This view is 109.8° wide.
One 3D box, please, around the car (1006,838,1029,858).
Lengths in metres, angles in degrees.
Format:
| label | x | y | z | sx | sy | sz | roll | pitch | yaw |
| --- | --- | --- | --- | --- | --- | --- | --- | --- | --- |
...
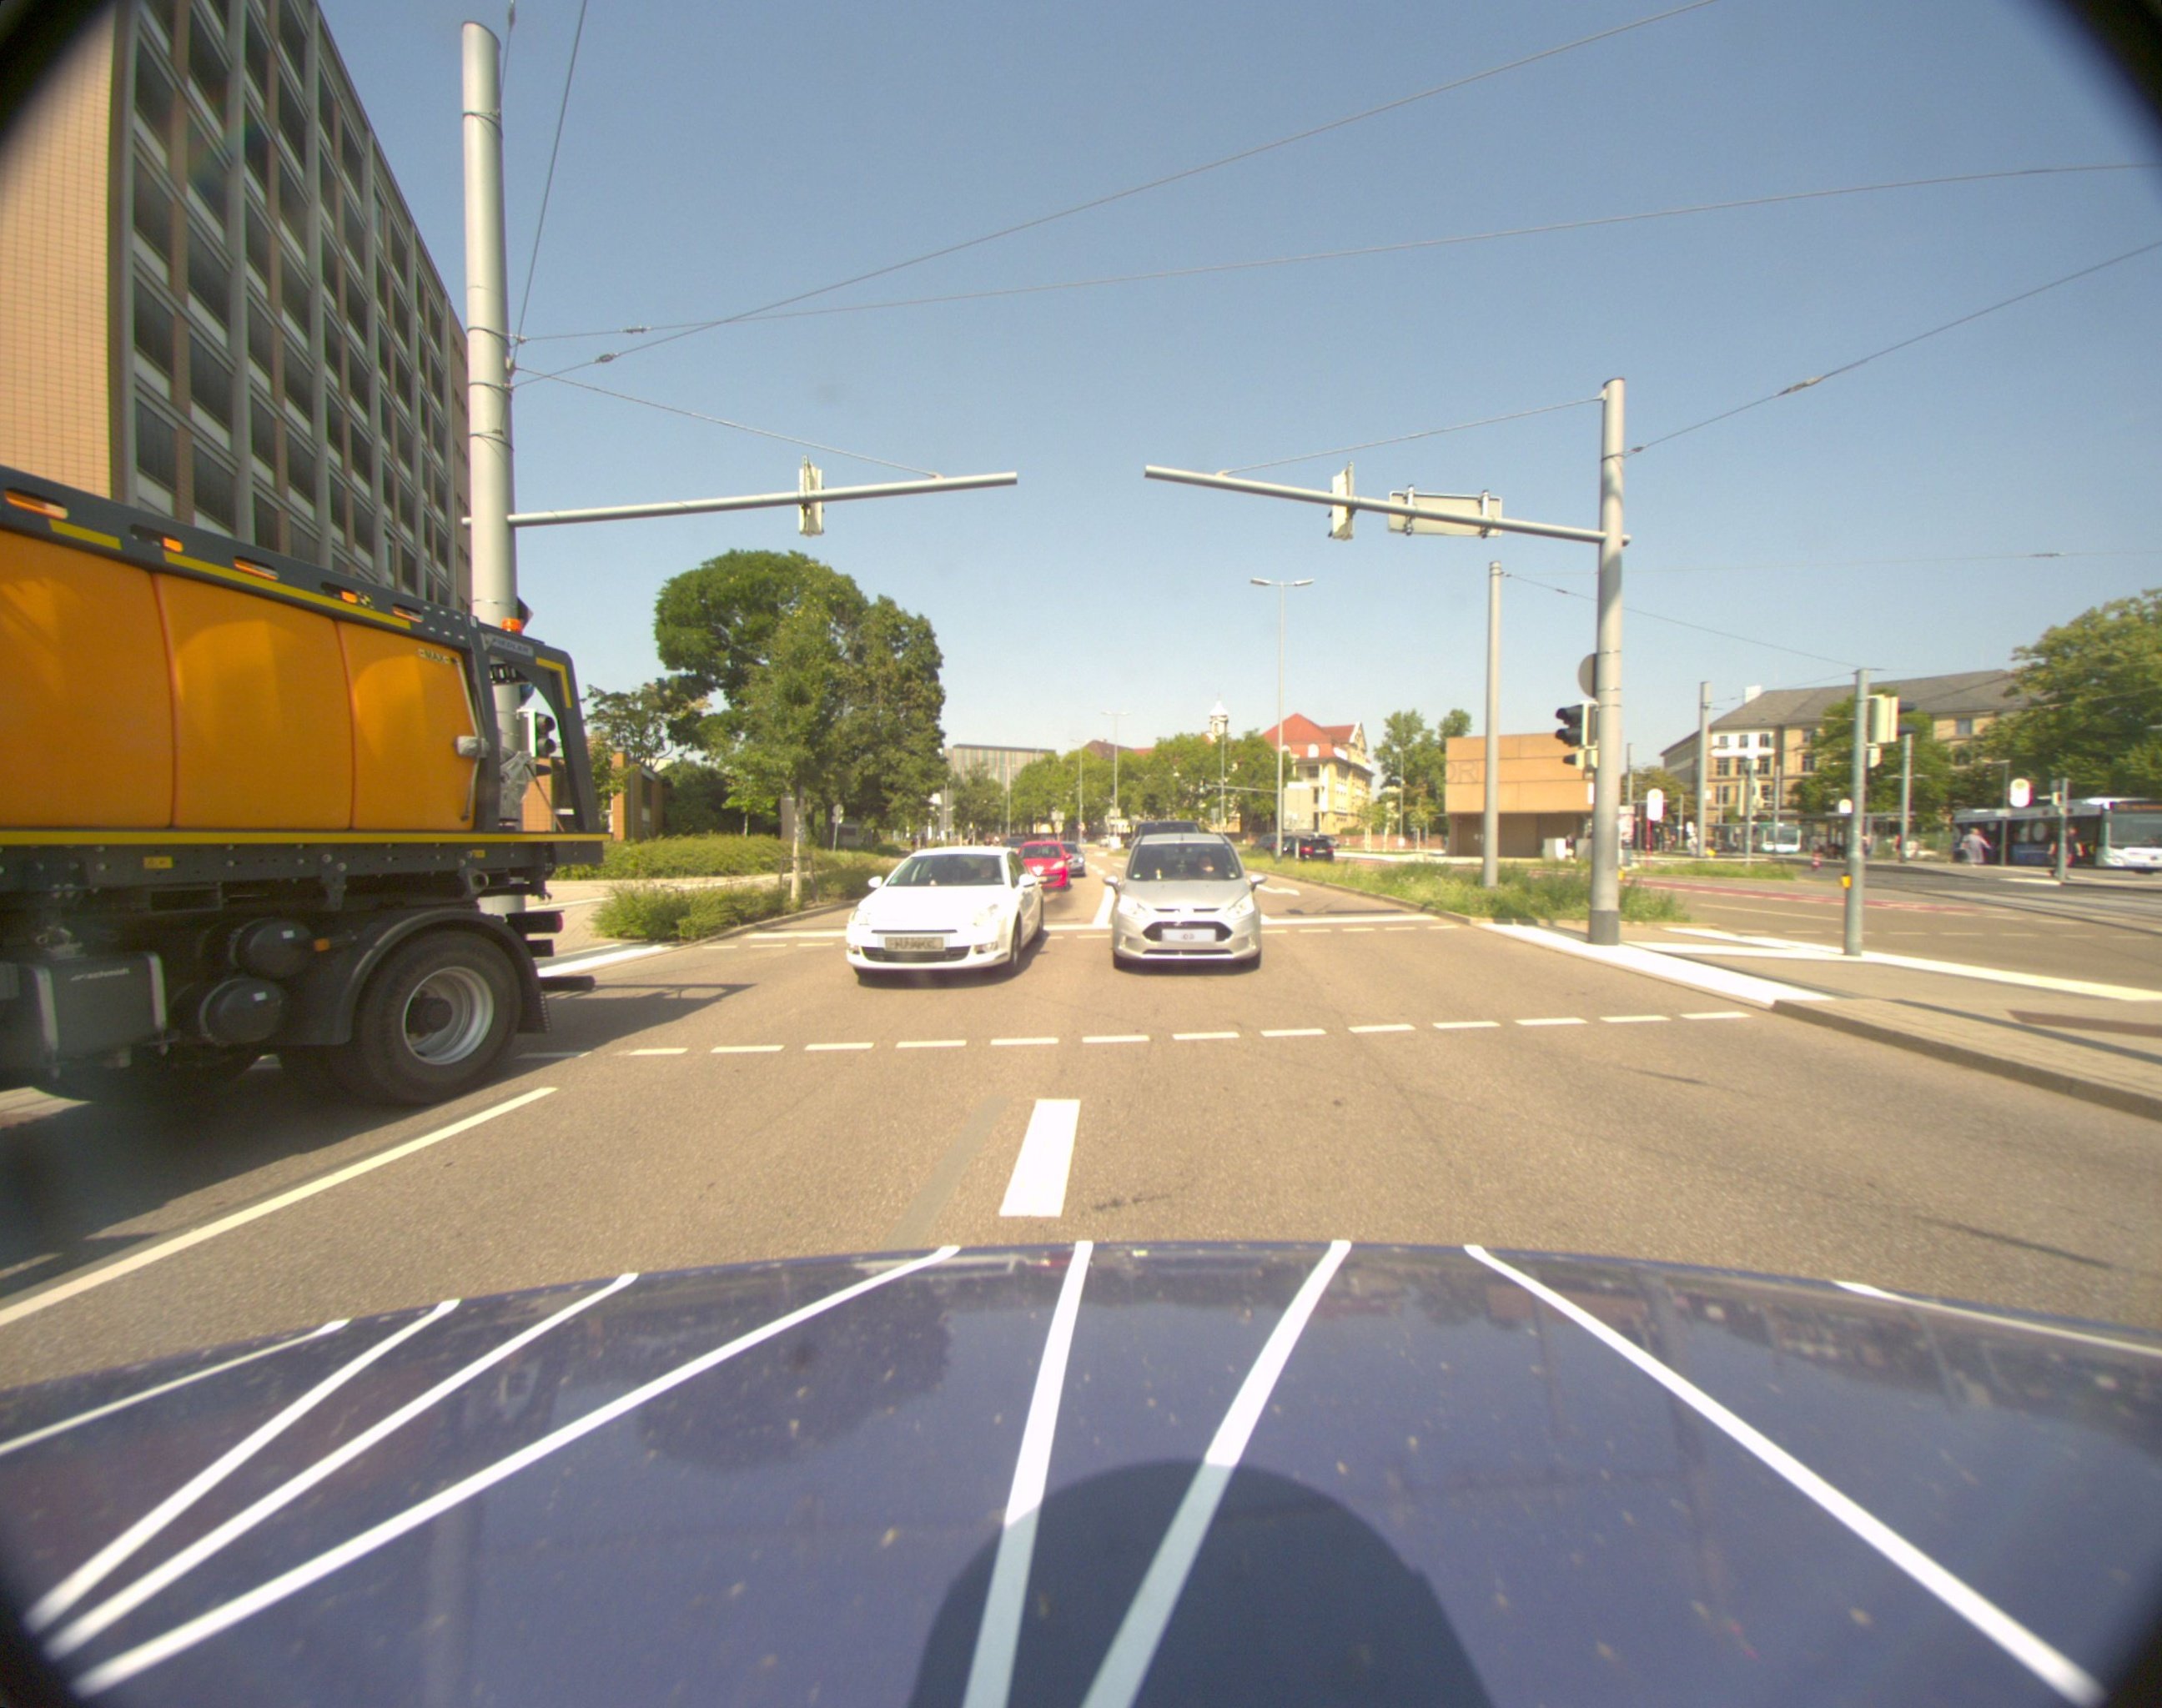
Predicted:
| label | x | y | z | sx | sy | sz | roll | pitch | yaw |
| --- | --- | --- | --- | --- | --- | --- | --- | --- | --- |
| car | -4.564 | -0.460 | 54.423 | 1.617 | 1.415 | 3.604 | 0 | 2 | -5 |

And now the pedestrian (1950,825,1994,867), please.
| label | x | y | z | sx | sy | sz | roll | pitch | yaw |
| --- | --- | --- | --- | --- | --- | --- | --- | --- | --- |
| pedestrian | 38.185 | -0.332 | 32.565 | 0.959 | 1.770 | 0.784 | 1 | 2 | -12 |

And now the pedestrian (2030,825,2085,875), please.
| label | x | y | z | sx | sy | sz | roll | pitch | yaw |
| --- | --- | --- | --- | --- | --- | --- | --- | --- | --- |
| pedestrian | 35.049 | -0.147 | 27.281 | 0.959 | 1.770 | 0.784 | 1 | 2 | -12 |

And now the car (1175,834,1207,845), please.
| label | x | y | z | sx | sy | sz | roll | pitch | yaw |
| --- | --- | --- | --- | --- | --- | --- | --- | --- | --- |
| car | 10.599 | -1.418 | 73.313 | 1.849 | 1.021 | 4.328 | 0 | 2 | -9 |

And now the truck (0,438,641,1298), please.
| label | x | y | z | sx | sy | sz | roll | pitch | yaw |
| --- | --- | --- | --- | --- | --- | --- | --- | --- | --- |
| truck | -5.562 | 0.074 | 2.840 | 3.038 | 3.211 | 7.192 | -1 | 1 | 6 |

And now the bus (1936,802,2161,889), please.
| label | x | y | z | sx | sy | sz | roll | pitch | yaw |
| --- | --- | --- | --- | --- | --- | --- | --- | --- | --- |
| bus | 43.972 | -0.476 | 34.662 | 2.670 | 3.312 | 12.780 | 1 | 2 | 30 |

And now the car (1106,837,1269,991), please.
| label | x | y | z | sx | sy | sz | roll | pitch | yaw |
| --- | --- | --- | --- | --- | --- | --- | --- | --- | --- |
| car | 1.401 | 0.573 | 10.165 | 1.690 | 1.586 | 4.362 | 0 | 2 | 8 |

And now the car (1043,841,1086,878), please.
| label | x | y | z | sx | sy | sz | roll | pitch | yaw |
| --- | --- | --- | --- | --- | --- | --- | --- | --- | --- |
| car | -0.707 | 0.189 | 30.580 | 1.517 | 1.331 | 3.505 | -2 | 2 | -4 |

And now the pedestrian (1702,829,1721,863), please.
| label | x | y | z | sx | sy | sz | roll | pitch | yaw |
| --- | --- | --- | --- | --- | --- | --- | --- | --- | --- |
| pedestrian | 25.570 | -0.314 | 30.812 | 0.461 | 1.367 | 0.349 | 0 | 2 | 5 |

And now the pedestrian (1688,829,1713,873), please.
| label | x | y | z | sx | sy | sz | roll | pitch | yaw |
| --- | --- | --- | --- | --- | --- | --- | --- | --- | --- |
| pedestrian | 25.584 | -0.132 | 31.380 | 0.560 | 1.806 | 0.561 | 0 | 2 | 5 |

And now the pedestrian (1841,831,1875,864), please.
| label | x | y | z | sx | sy | sz | roll | pitch | yaw |
| --- | --- | --- | --- | --- | --- | --- | --- | --- | --- |
| pedestrian | 42.272 | -0.363 | 41.336 | 0.785 | 1.770 | 0.958 | 1 | 2 | -8 |

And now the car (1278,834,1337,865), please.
| label | x | y | z | sx | sy | sz | roll | pitch | yaw |
| --- | --- | --- | --- | --- | --- | --- | --- | --- | --- |
| car | 11.428 | -0.247 | 38.621 | 1.679 | 1.512 | 3.703 | 0 | 2 | -4 |

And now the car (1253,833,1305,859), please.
| label | x | y | z | sx | sy | sz | roll | pitch | yaw |
| --- | --- | --- | --- | --- | --- | --- | --- | --- | --- |
| car | 12.808 | -0.549 | 49.511 | 1.902 | 1.643 | 4.653 | 0 | 2 | -4 |

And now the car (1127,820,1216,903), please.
| label | x | y | z | sx | sy | sz | roll | pitch | yaw |
| --- | --- | --- | --- | --- | --- | --- | --- | --- | --- |
| car | 2.243 | 0.108 | 20.079 | 1.899 | 1.920 | 4.884 | 0 | 2 | 2 |

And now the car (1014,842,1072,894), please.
| label | x | y | z | sx | sy | sz | roll | pitch | yaw |
| --- | --- | --- | --- | --- | --- | --- | --- | --- | --- |
| car | -1.079 | 0.357 | 22.789 | 1.516 | 1.401 | 3.358 | 0 | 1 | 0 |

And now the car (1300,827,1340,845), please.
| label | x | y | z | sx | sy | sz | roll | pitch | yaw |
| --- | --- | --- | --- | --- | --- | --- | --- | --- | --- |
| car | 26.828 | -2.039 | 85.349 | 4.006 | 1.959 | 1.995 | -1 | 2 | -27 |

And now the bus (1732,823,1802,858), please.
| label | x | y | z | sx | sy | sz | roll | pitch | yaw |
| --- | --- | --- | --- | --- | --- | --- | --- | --- | --- |
| bus | 66.569 | -1.431 | 74.042 | 2.535 | 3.015 | 12.455 | 0 | 2 | 30 |

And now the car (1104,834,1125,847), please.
| label | x | y | z | sx | sy | sz | roll | pitch | yaw |
| --- | --- | --- | --- | --- | --- | --- | --- | --- | --- |
| car | 4.376 | -1.737 | 98.758 | 1.737 | 1.629 | 3.666 | 0 | 2 | -14 |

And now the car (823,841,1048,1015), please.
| label | x | y | z | sx | sy | sz | roll | pitch | yaw |
| --- | --- | --- | --- | --- | --- | --- | --- | --- | --- |
| car | -1.539 | 0.698 | 9.783 | 1.770 | 1.609 | 4.602 | -1 | 2 | 3 |

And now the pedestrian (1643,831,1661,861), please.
| label | x | y | z | sx | sy | sz | roll | pitch | yaw |
| --- | --- | --- | --- | --- | --- | --- | --- | --- | --- |
| pedestrian | 31.172 | -0.449 | 41.494 | 0.571 | 1.636 | 0.511 | -2 | 3 | -11 |
